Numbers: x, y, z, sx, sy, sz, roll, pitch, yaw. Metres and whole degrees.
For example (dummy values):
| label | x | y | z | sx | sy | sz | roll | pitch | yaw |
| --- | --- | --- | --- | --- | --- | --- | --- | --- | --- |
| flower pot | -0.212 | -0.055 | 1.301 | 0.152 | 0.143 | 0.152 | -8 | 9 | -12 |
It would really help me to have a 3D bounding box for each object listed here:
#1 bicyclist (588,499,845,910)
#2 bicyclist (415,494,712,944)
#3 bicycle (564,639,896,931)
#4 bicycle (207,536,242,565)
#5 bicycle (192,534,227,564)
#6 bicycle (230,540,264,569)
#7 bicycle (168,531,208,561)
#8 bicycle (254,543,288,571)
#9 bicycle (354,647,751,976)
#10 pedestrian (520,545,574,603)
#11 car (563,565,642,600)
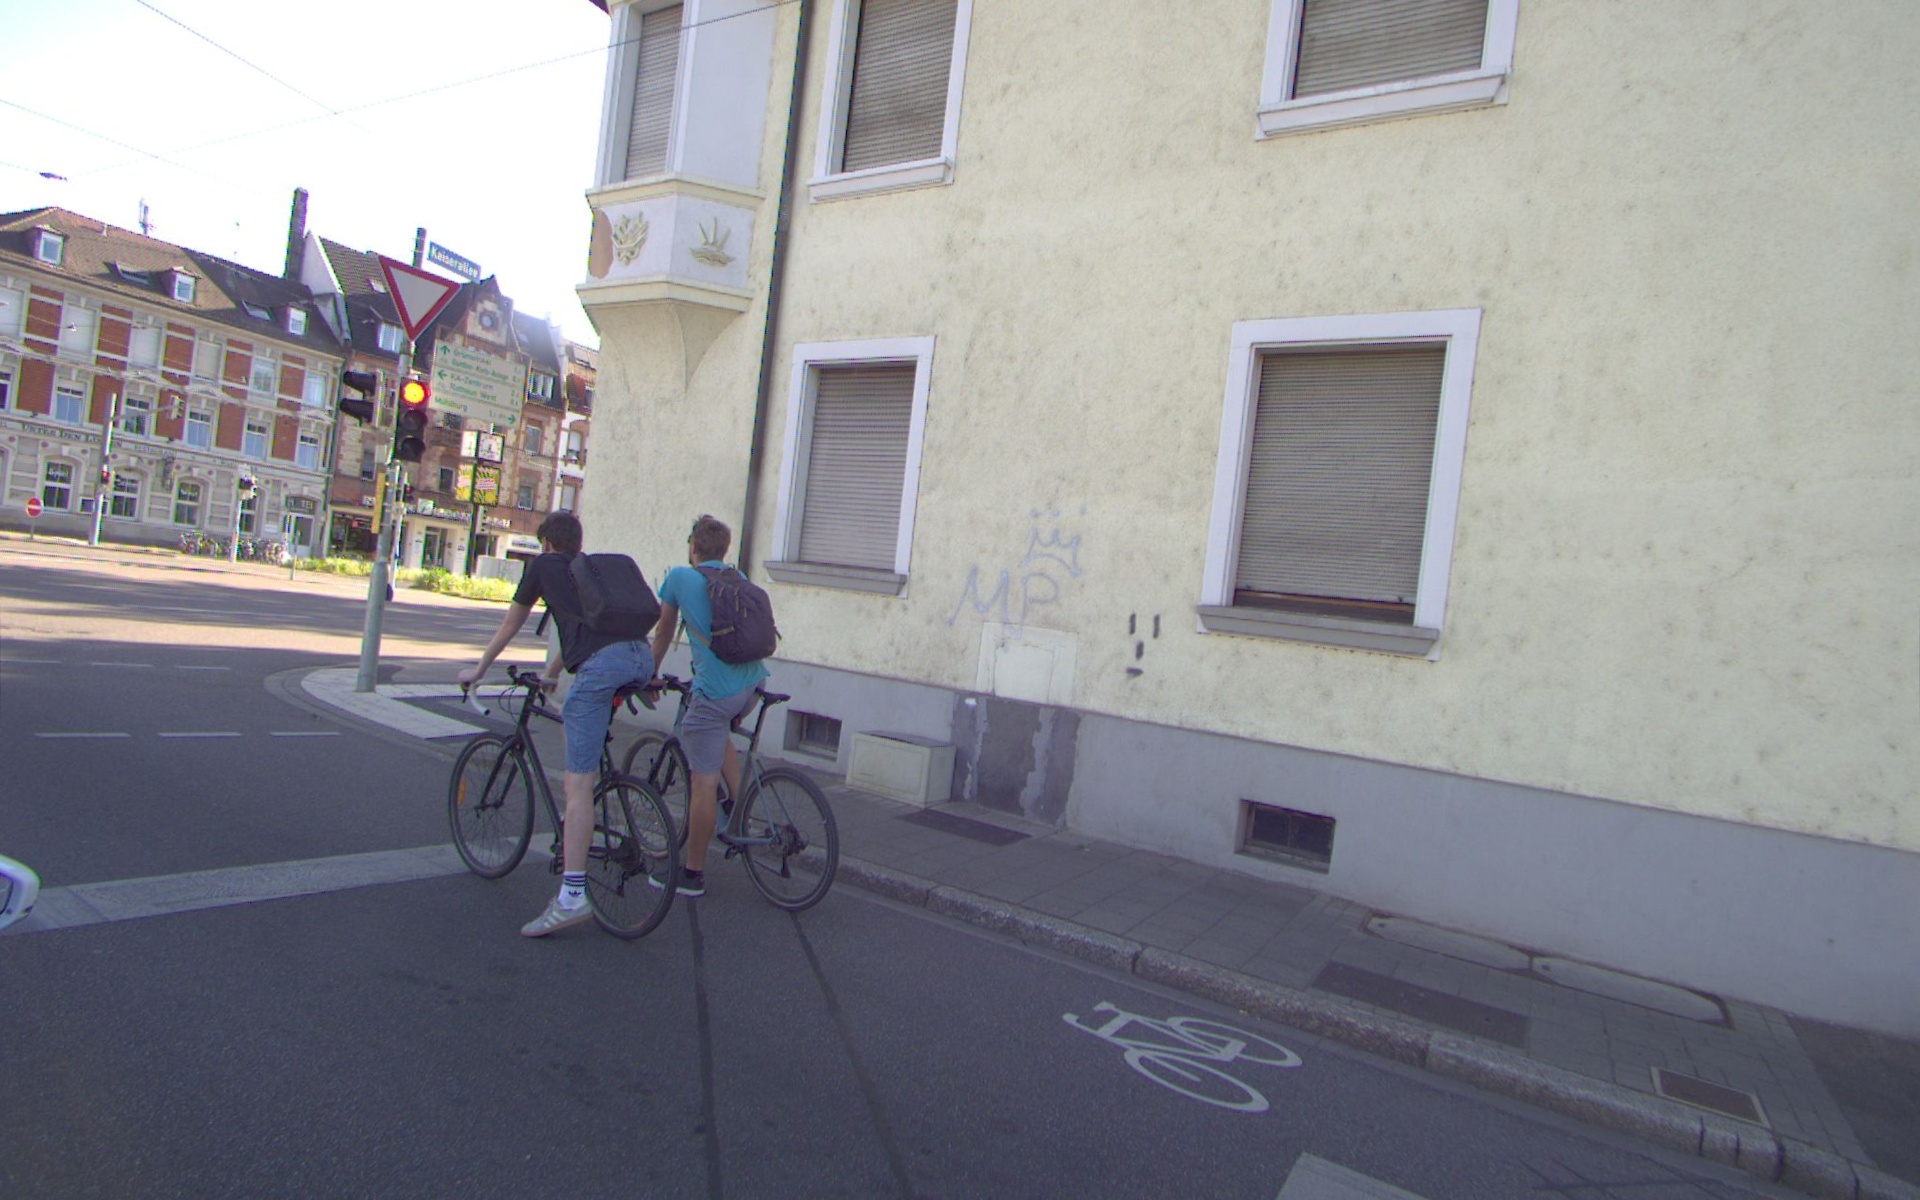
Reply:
| label | x | y | z | sx | sy | sz | roll | pitch | yaw |
| --- | --- | --- | --- | --- | --- | --- | --- | --- | --- |
| bicyclist | -1.273 | 0.495 | 5.256 | 0.961 | 1.917 | 0.602 | 6 | -1 | 34 |
| bicyclist | -1.806 | 0.469 | 4.555 | 1.083 | 1.775 | 0.562 | 7 | 0 | 34 |
| bicycle | -1.257 | 0.882 | 5.291 | 1.784 | 1.130 | 0.519 | 7 | 0 | 34 |
| bicycle | -34.210 | -2.311 | 46.768 | 2.140 | 1.157 | 0.618 | 7 | 0 | 37 |
| bicycle | -34.546 | -2.359 | 46.291 | 2.140 | 1.157 | 0.618 | 7 | 0 | 37 |
| bicycle | -33.678 | -2.164 | 47.519 | 2.140 | 1.157 | 0.618 | 7 | 0 | 37 |
| bicycle | -35.060 | -2.448 | 45.688 | 2.140 | 1.157 | 0.806 | 7 | 0 | 37 |
| bicycle | -33.113 | -2.071 | 48.324 | 2.102 | 1.150 | 0.609 | 7 | 0 | 37 |
| bicycle | -1.917 | 0.851 | 4.601 | 1.897 | 1.023 | 0.645 | 7 | 0 | 34 |
| pedestrian | -16.566 | -1.042 | 40.387 | 1.285 | 2.068 | 1.321 | 7 | 0 | 31 |
| car | -23.170 | -1.127 | 65.329 | 2.116 | 1.660 | 4.340 | 7 | -1 | 31 |
